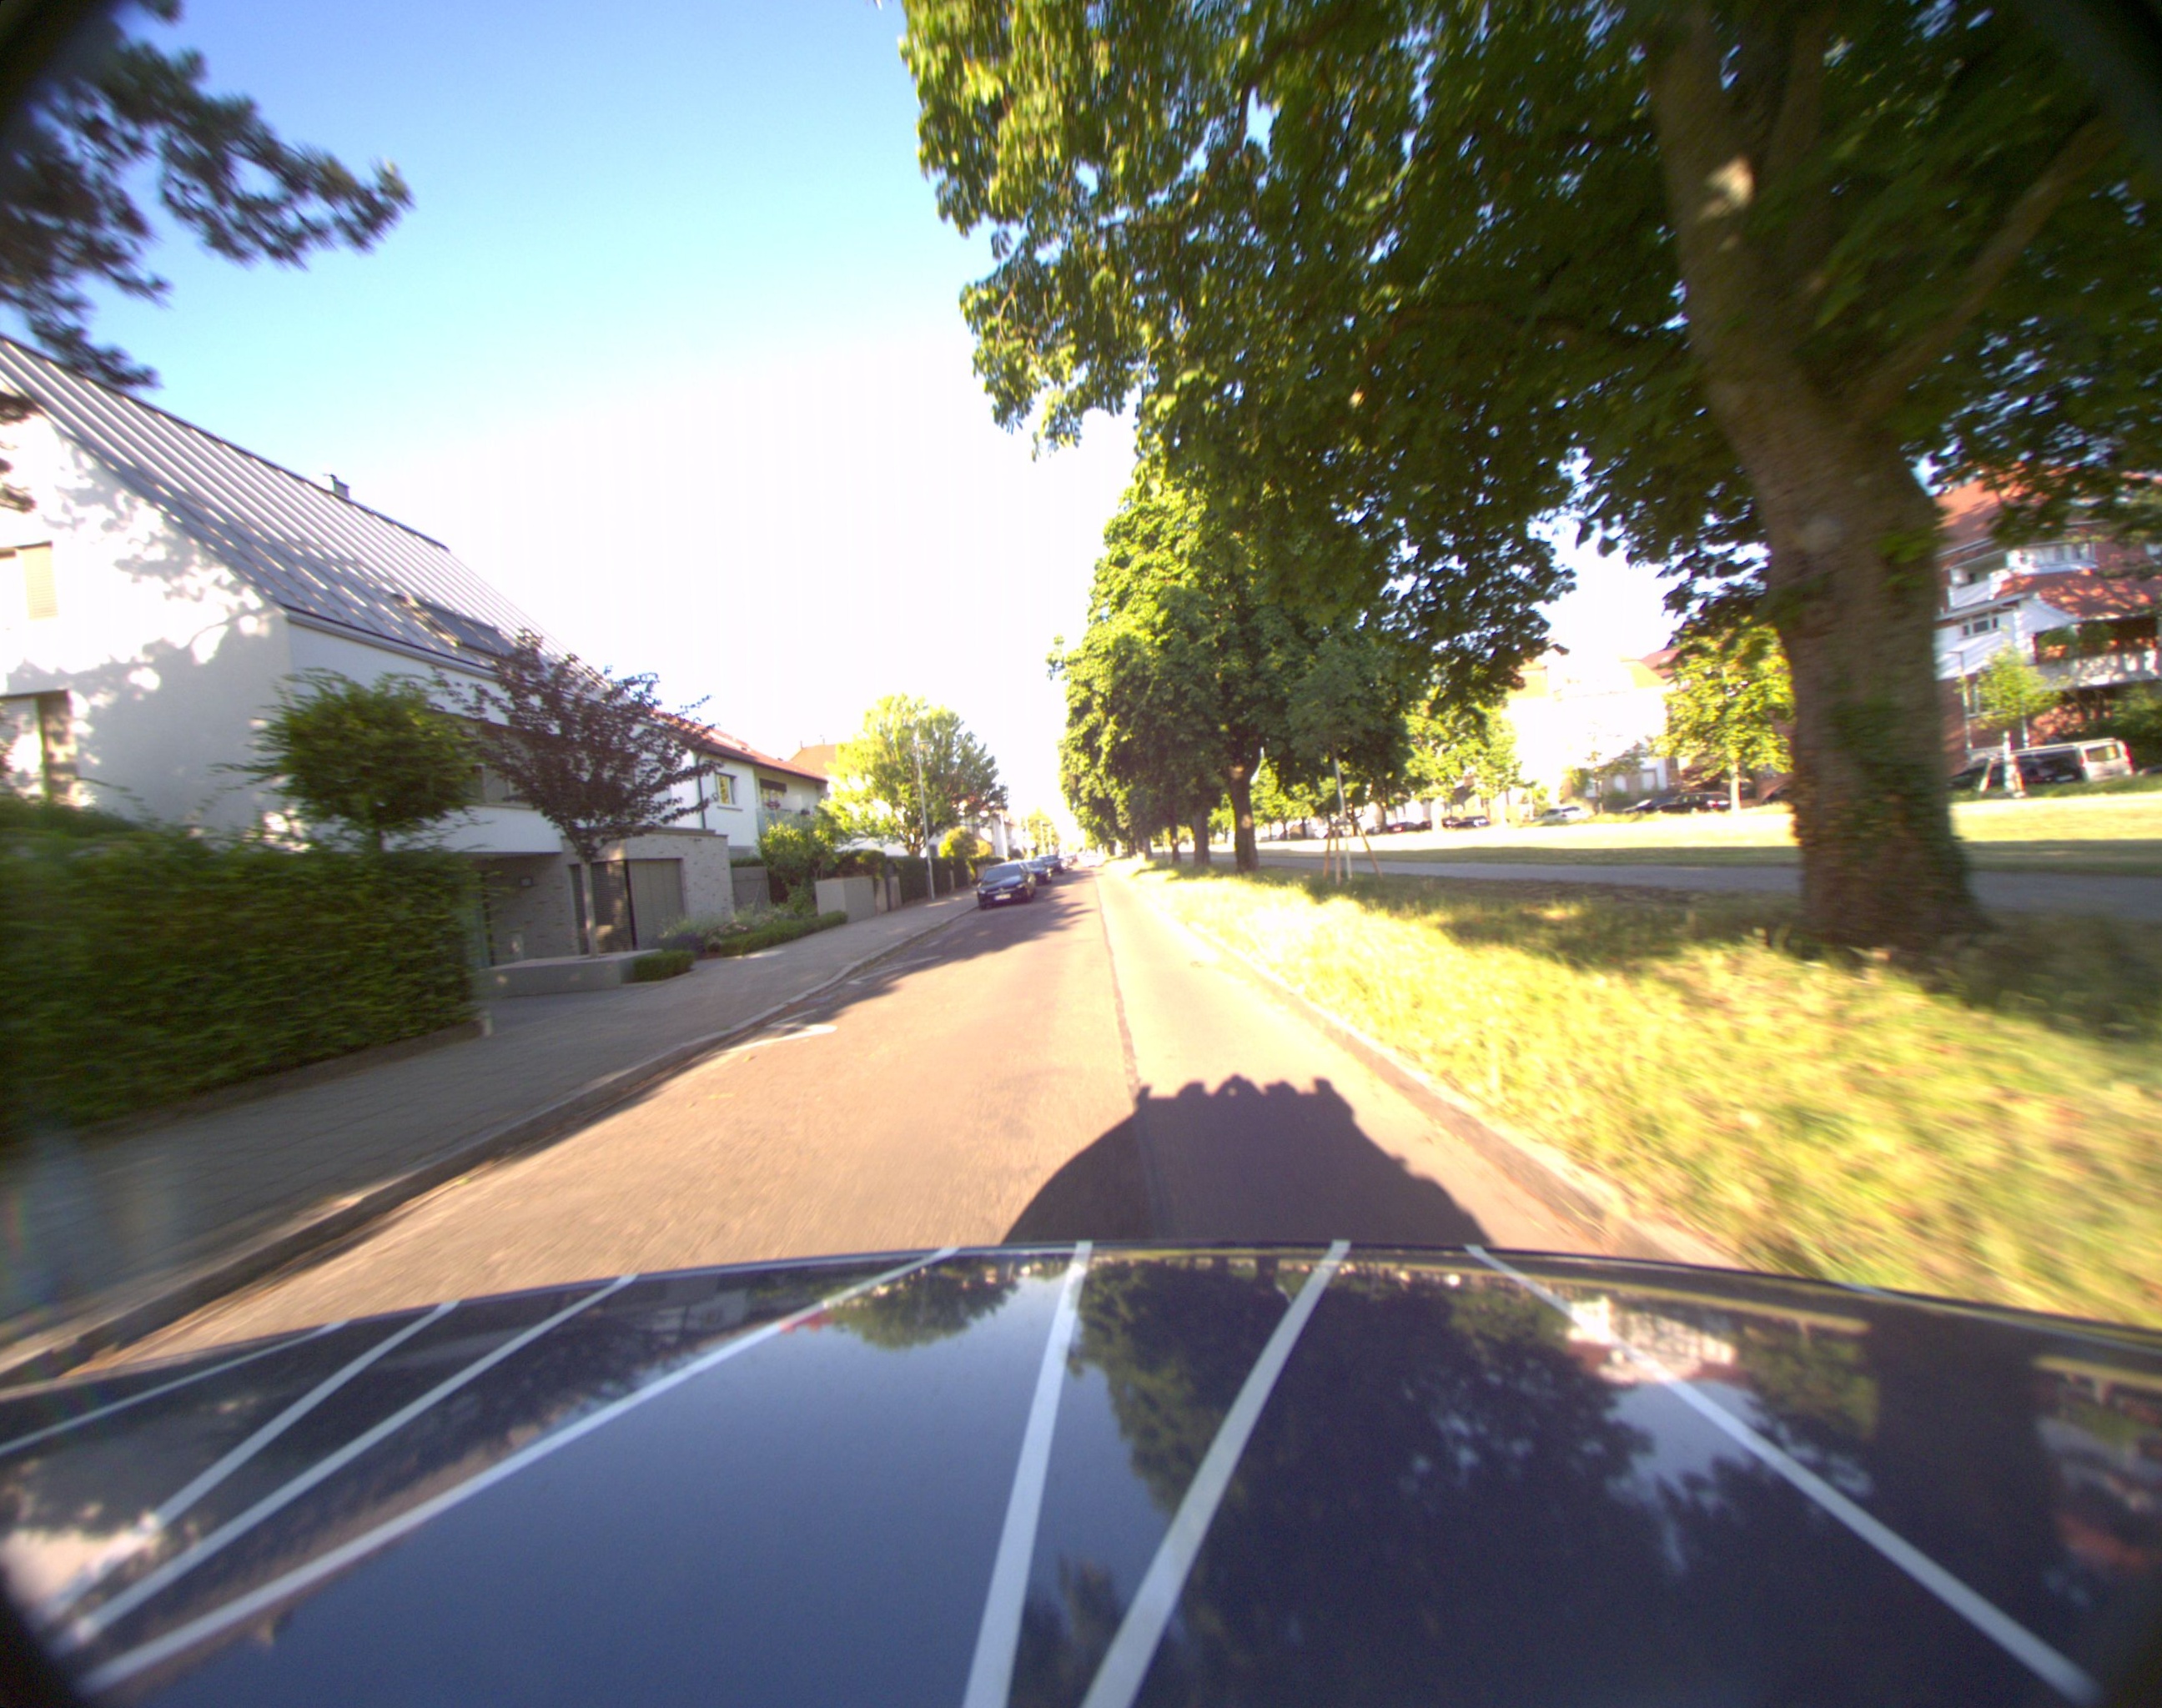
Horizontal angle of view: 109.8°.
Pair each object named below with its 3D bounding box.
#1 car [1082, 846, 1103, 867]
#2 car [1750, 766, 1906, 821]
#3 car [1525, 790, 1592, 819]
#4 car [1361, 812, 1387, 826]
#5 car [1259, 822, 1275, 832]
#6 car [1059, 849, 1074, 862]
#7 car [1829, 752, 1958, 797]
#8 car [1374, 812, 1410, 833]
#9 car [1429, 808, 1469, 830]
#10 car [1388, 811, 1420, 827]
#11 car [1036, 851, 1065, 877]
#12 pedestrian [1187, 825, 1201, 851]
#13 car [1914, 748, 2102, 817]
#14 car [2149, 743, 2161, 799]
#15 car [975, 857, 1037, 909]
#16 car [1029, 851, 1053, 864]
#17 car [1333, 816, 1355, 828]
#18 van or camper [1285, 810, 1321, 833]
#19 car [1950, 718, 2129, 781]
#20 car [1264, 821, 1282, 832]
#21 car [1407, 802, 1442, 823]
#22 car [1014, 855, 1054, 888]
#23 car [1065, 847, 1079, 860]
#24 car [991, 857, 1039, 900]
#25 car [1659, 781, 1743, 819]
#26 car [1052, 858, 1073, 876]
[{"bbox_3d":[1.232,0.275,81.805,1.998,2.002,4.000,-6,1,1],"label":"car"},{"bbox_3d":[34.242,-2.715,35.091,1.998,1.929,5.246,-6,0,2],"label":"car"},{"bbox_3d":[34.492,-3.516,55.023,1.824,1.630,4.650,-6,0,1],"label":"car"},{"bbox_3d":[40.766,-4.856,105.830,1.998,1.724,4.000,-6,0,3],"label":"car"},{"bbox_3d":[35.924,-5.149,146.888,1.998,1.680,4.875,-6,0,1],"label":"car"},{"bbox_3d":[-1.903,0.238,102.623,1.784,1.490,4.397,-8,0,-1],"label":"car"},{"bbox_3d":[40.300,-3.904,37.857,1.761,1.613,4.305,-6,0,1],"label":"car"},{"bbox_3d":[35.139,-3.561,85.999,1.998,2.002,4.876,-6,0,3],"label":"car"},{"bbox_3d":[40.700,-3.838,84.133,1.998,2.002,4.876,-6,0,3],"label":"car"},{"bbox_3d":[40.576,-4.333,95.642,1.999,1.643,4.428,-6,0,-1],"label":"car"},{"bbox_3d":[-2.488,0.808,62.359,1.999,1.727,4.863,-9,1,-1],"label":"car"},{"bbox_3d":[7.935,-1.099,53.402,0.726,1.747,0.993,-6,0,7],"label":"pedestrian"},{"bbox_3d":[34.423,-2.587,28.413,1.998,2.002,4.000,-6,1,1],"label":"car"},{"bbox_3d":[39.826,-3.072,25.594,1.998,2.002,4.000,-6,0,2],"label":"car"},{"bbox_3d":[-2.591,0.974,27.264,1.753,1.468,4.287,-8,0,-2],"label":"car"},{"bbox_3d":[-6.956,0.650,131.599,3.998,1.917,1.999,-6,0,-3],"label":"car"},{"bbox_3d":[41.343,-5.010,119.400,1.998,1.455,4.000,-6,0,0],"label":"car"},{"bbox_3d":[35.423,-5.182,121.635,3.262,3.092,7.896,-6,0,1],"label":"van or camper"},{"bbox_3d":[39.831,-4.288,31.785,1.821,1.827,4.408,-6,0,1],"label":"car"},{"bbox_3d":[35.739,-5.047,141.468,1.998,1.680,4.875,-6,0,1],"label":"car"},{"bbox_3d":[40.590,-4.896,89.882,1.999,2.002,4.428,-6,0,-1],"label":"car"},{"bbox_3d":[-2.564,0.927,42.539,1.798,1.483,4.673,-6,1,0],"label":"car"},{"bbox_3d":[-1.487,-0.114,119.868,1.862,1.710,4.467,-11,0,-1],"label":"car"},{"bbox_3d":[-2.753,0.995,32.506,1.695,1.474,3.928,-10,1,-3],"label":"car"},{"bbox_3d":[39.884,-3.439,49.043,1.761,2.002,4.368,-6,0,1],"label":"car"},{"bbox_3d":[-1.818,1.303,75.802,1.784,1.454,4.593,-8,0,0],"label":"car"}]
